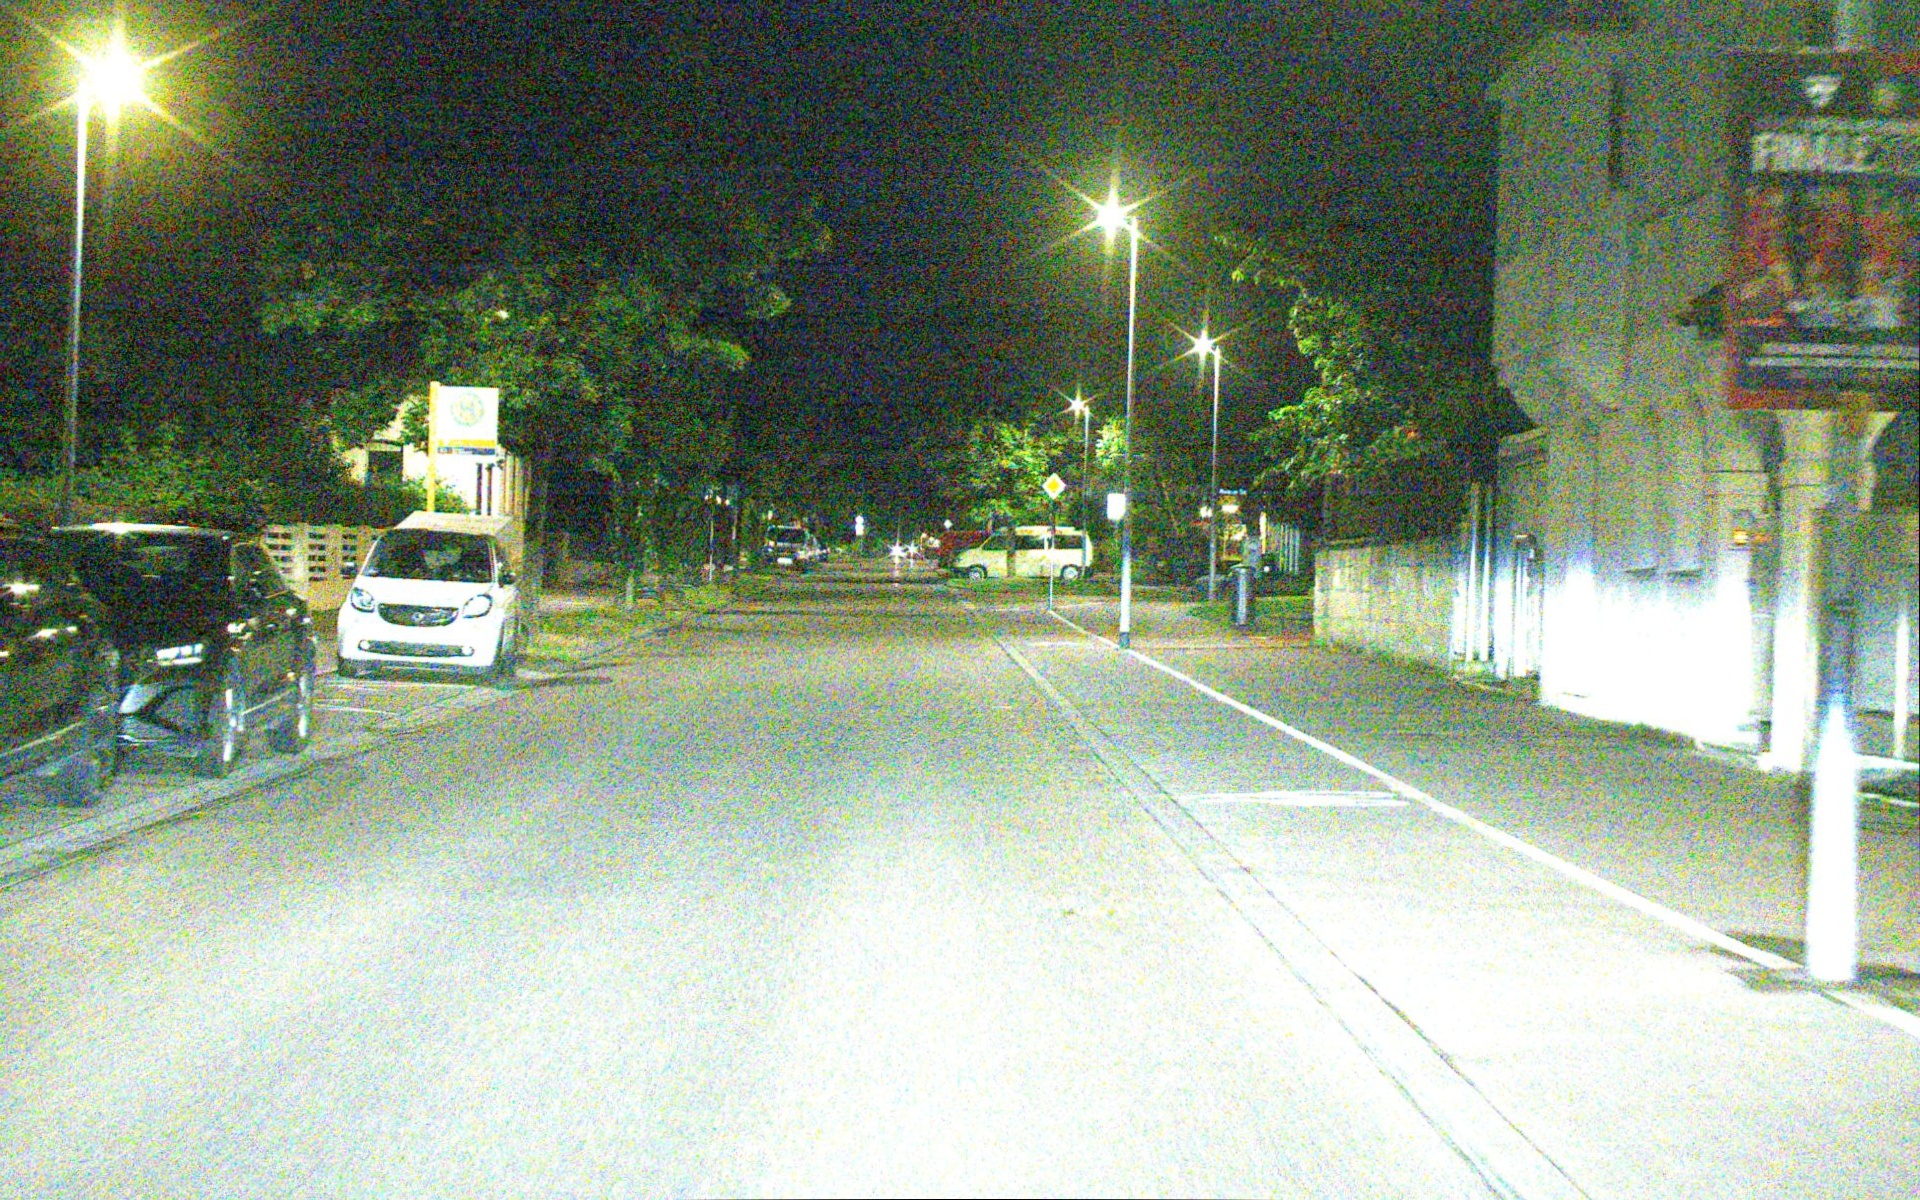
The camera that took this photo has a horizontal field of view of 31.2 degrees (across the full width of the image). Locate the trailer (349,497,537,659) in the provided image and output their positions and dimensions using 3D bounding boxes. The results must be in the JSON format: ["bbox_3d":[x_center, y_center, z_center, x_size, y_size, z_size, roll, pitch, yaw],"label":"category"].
[{"bbox_3d":[-5.857,-0.261,39.246,1.448,1.682,3.426,4,1,2],"label":"trailer"}]

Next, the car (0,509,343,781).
[{"bbox_3d":[-5.210,0.214,21.991,1.766,1.514,4.279,2,1,-1],"label":"car"}]

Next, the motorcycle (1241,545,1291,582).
[{"bbox_3d":[11.443,-1.379,128.373,1.071,1.322,2.704,2,2,23],"label":"motorcycle"}]

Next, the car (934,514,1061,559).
[{"bbox_3d":[1.623,-2.710,147.067,5.184,1.880,2.101,0,1,9],"label":"car"}]

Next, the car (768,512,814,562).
[{"bbox_3d":[-7.161,-2.680,145.894,1.824,1.980,4.466,3,1,-2],"label":"car"}]

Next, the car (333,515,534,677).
[{"bbox_3d":[-5.470,-0.067,36.008,1.671,1.517,2.979,4,1,-2],"label":"car"}]

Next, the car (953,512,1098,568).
[{"bbox_3d":[2.381,-2.202,125.370,5.182,2.007,2.102,0,1,-2],"label":"car"}]

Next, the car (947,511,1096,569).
[{"bbox_3d":[2.164,-2.136,122.304,5.182,2.007,2.102,0,1,-2],"label":"car"}]

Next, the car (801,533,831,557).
[{"bbox_3d":[-8.168,-3.103,194.928,1.683,1.326,3.600,1,1,-2],"label":"car"}]

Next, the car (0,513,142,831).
[{"bbox_3d":[-5.383,0.312,16.925,1.688,1.505,4.279,1,1,0],"label":"car"}]
